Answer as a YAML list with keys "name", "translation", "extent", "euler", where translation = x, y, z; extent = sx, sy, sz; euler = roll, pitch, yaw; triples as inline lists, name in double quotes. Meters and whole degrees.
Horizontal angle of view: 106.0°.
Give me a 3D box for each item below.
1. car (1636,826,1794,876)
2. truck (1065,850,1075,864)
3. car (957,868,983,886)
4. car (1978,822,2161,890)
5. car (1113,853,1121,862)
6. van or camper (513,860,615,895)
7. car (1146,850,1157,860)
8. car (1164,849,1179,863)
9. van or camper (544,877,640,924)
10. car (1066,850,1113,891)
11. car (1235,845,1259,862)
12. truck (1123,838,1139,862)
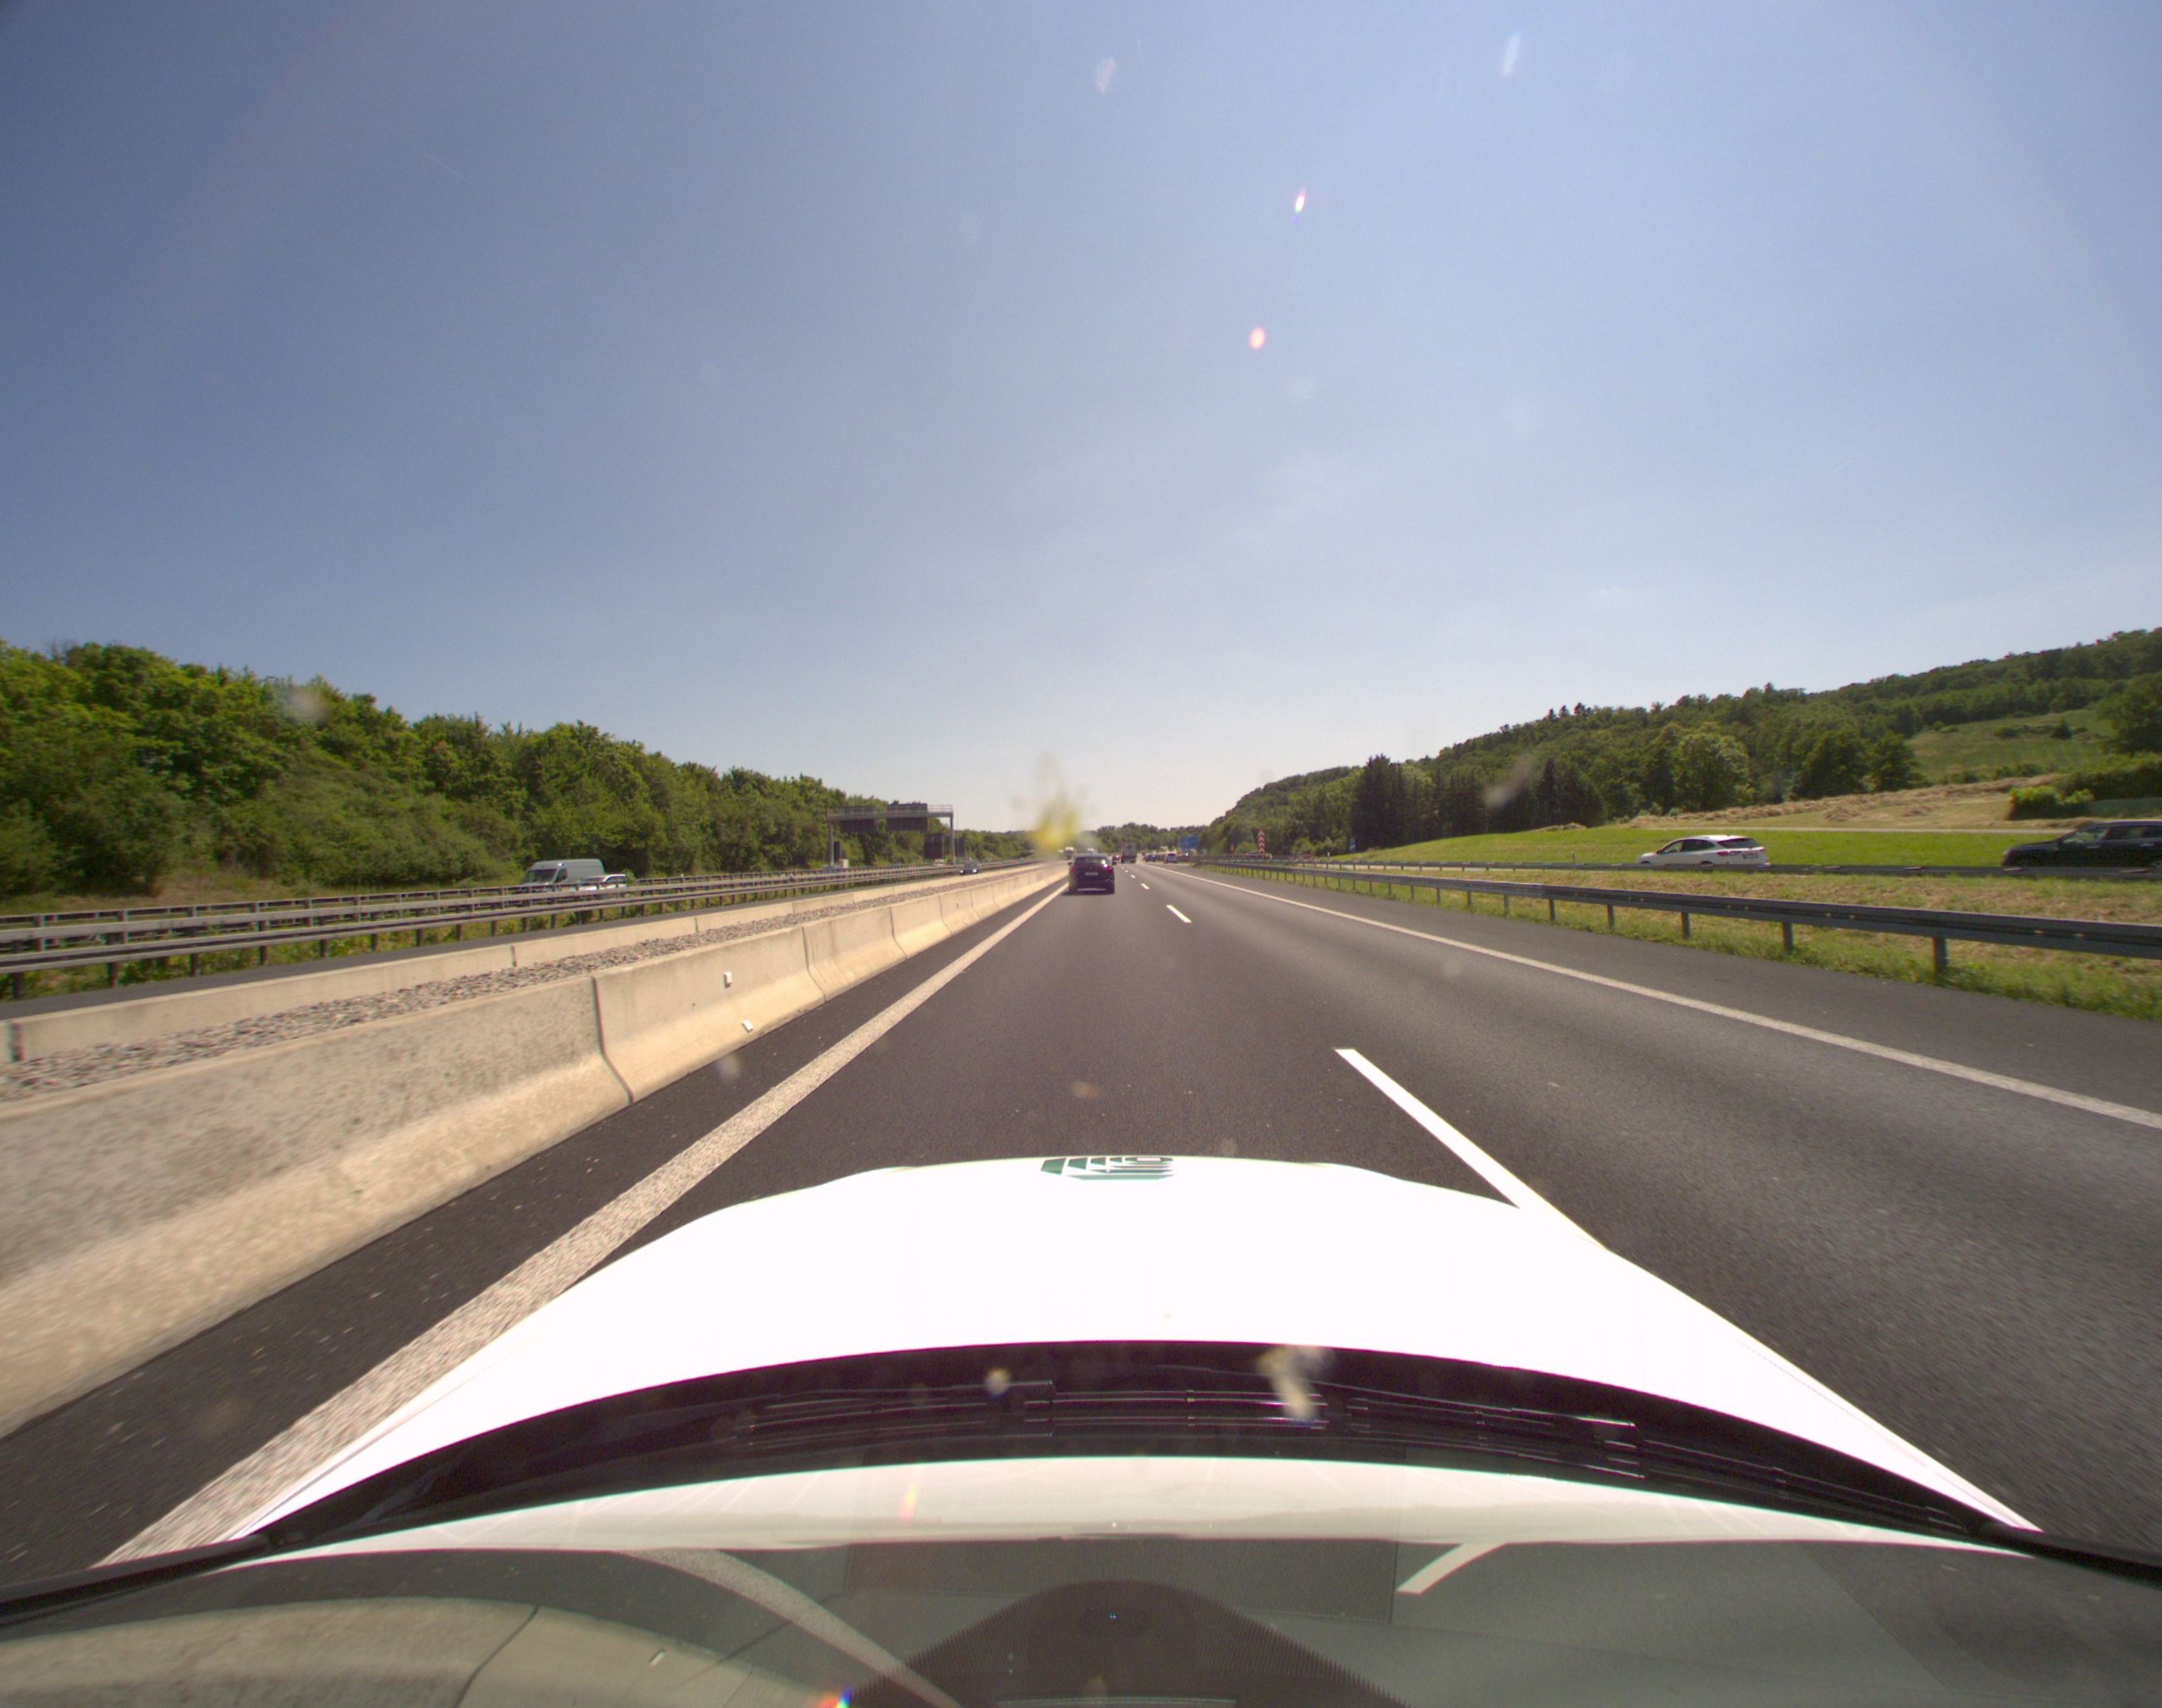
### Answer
- name: "car"
  translation: [22.828, -0.082, 29.582]
  extent: [1.992, 1.662, 4.456]
  euler: [0, -1, -7]
- name: "truck"
  translation: [-3.384, 0.955, 252.586]
  extent: [2.701, 4.288, 4.546]
  euler: [0, -1, -4]
- name: "car"
  translation: [-10.025, 2.086, 73.657]
  extent: [1.828, 1.534, 4.157]
  euler: [0, -1, -1]
- name: "car"
  translation: [27.477, 0.060, 21.162]
  extent: [1.989, 1.662, 5.619]
  euler: [0, -1, -3]
- name: "car"
  translation: [8.969, 0.915, 203.096]
  extent: [2.130, 2.216, 5.090]
  euler: [0, -1, 2]
- name: "van or camper"
  translation: [-29.558, 1.275, 46.828]
  extent: [1.985, 1.798, 5.533]
  euler: [-2, 0, 3]
- name: "car"
  translation: [14.334, 0.282, 165.131]
  extent: [1.986, 2.014, 4.002]
  euler: [0, -1, 2]
- name: "car"
  translation: [14.594, 0.295, 131.107]
  extent: [1.986, 2.013, 4.001]
  euler: [-3, 0, 1]
- name: "van or camper"
  translation: [-22.863, 2.109, 38.299]
  extent: [1.986, 2.014, 4.001]
  euler: [0, -1, 2]
- name: "car"
  translation: [0.312, 0.657, 33.048]
  extent: [1.774, 1.577, 3.998]
  euler: [0, -1, -1]
- name: "car"
  translation: [21.950, -0.074, 107.651]
  extent: [1.990, 2.013, 3.993]
  euler: [-3, 0, -5]
- name: "truck"
  translation: [9.431, -0.647, 153.432]
  extent: [3.019, 4.418, 12.029]
  euler: [0, -1, 4]
